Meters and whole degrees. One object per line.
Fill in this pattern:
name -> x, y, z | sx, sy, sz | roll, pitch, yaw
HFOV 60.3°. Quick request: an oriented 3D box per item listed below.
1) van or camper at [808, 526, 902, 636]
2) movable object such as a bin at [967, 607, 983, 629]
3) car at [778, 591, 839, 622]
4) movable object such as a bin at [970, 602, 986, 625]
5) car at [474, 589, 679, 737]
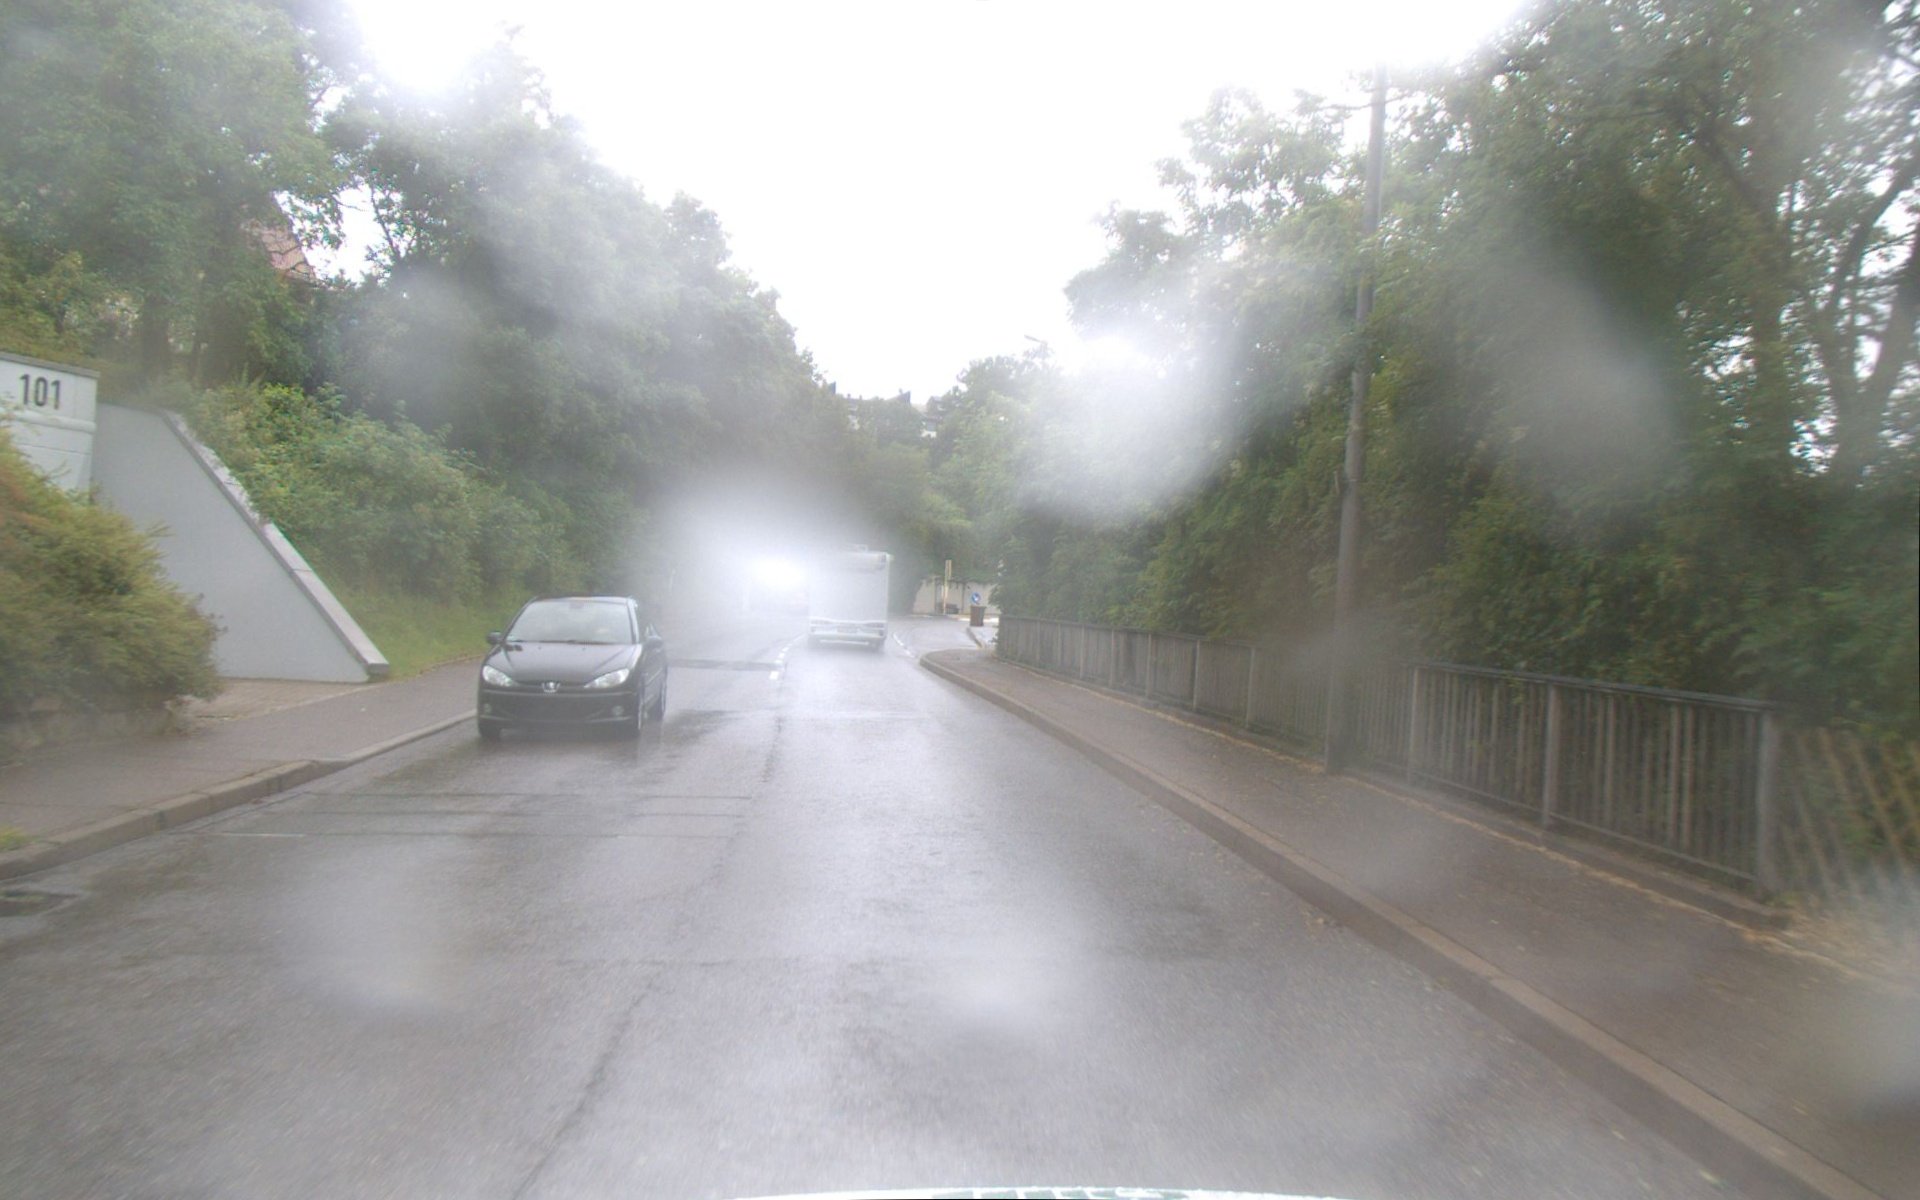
van or camper -> -3.138, -0.488, 48.188 | 2.491, 2.976, 5.940 | -1, -1, -6
movable object such as a bin -> 0.798, 0.939, 86.927 | 0.761, 1.153, 0.738 | 3, 0, 5
car -> -8.612, 0.379, 94.670 | 1.951, 1.589, 4.656 | 3, 0, 14
movable object such as a bin -> 0.967, 0.715, 88.291 | 0.761, 1.153, 0.738 | 3, 0, 5
car -> -3.997, 0.602, 17.727 | 1.618, 1.409, 3.526 | 1, 0, -5
